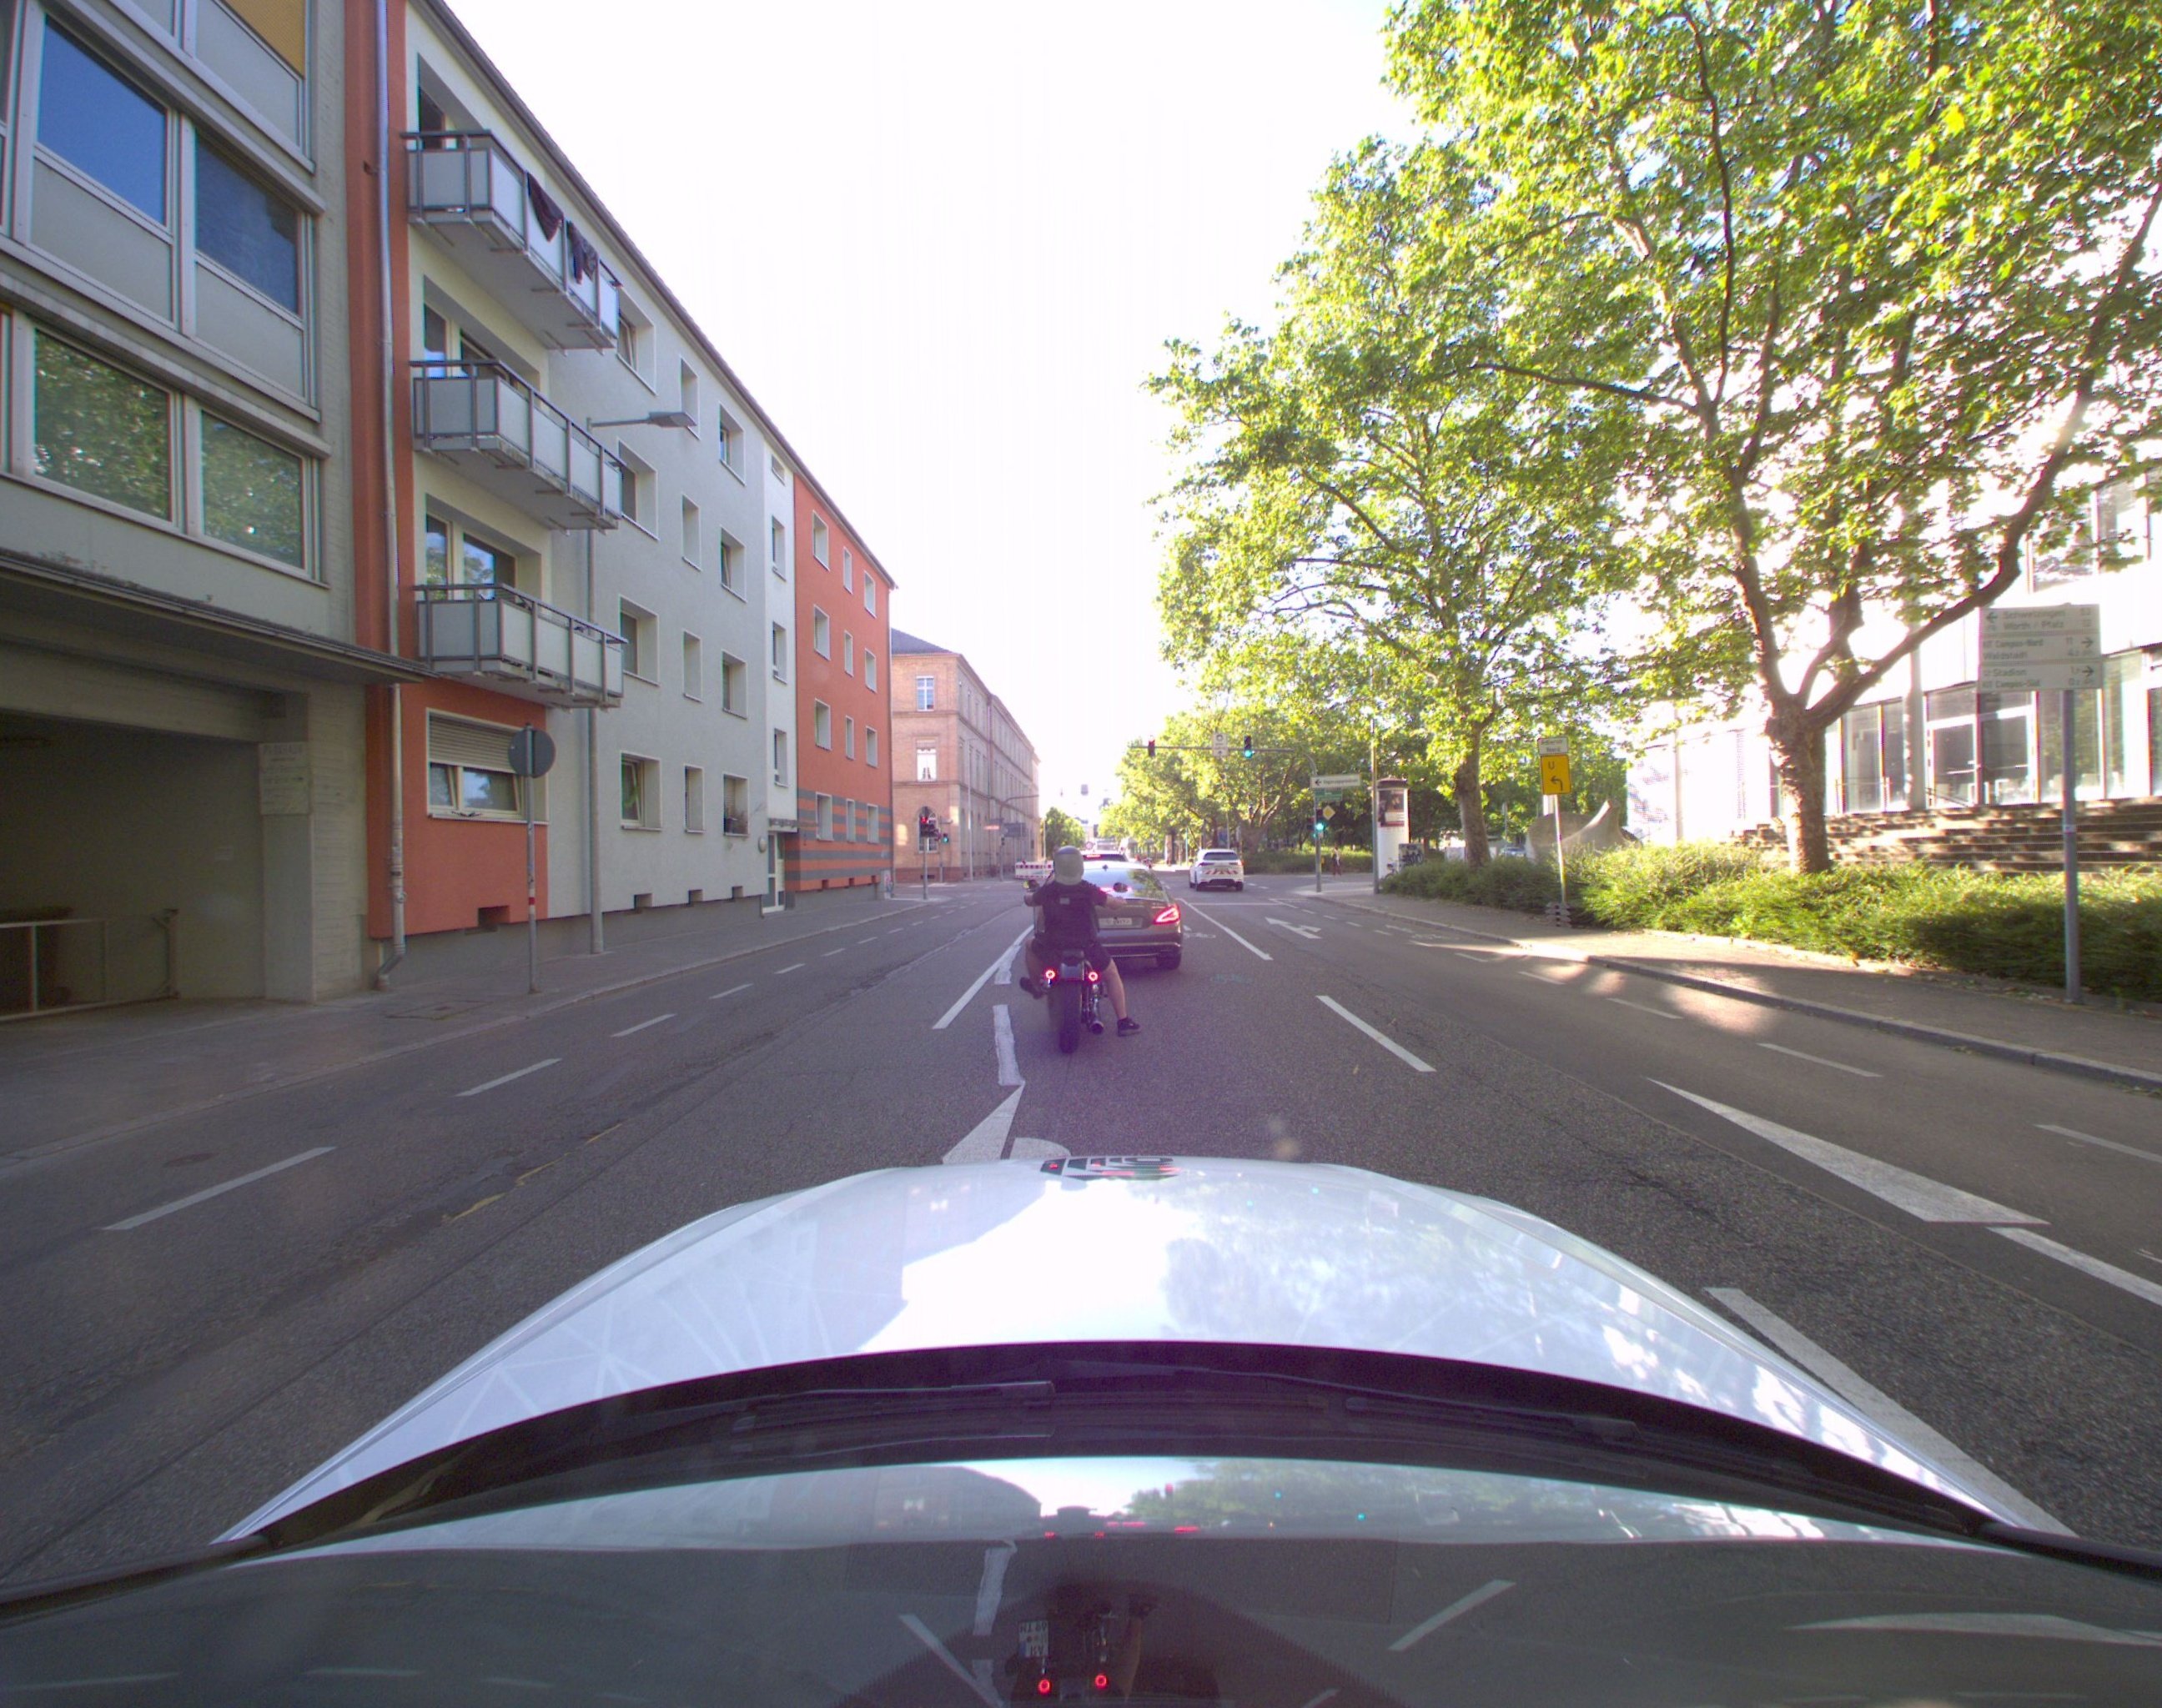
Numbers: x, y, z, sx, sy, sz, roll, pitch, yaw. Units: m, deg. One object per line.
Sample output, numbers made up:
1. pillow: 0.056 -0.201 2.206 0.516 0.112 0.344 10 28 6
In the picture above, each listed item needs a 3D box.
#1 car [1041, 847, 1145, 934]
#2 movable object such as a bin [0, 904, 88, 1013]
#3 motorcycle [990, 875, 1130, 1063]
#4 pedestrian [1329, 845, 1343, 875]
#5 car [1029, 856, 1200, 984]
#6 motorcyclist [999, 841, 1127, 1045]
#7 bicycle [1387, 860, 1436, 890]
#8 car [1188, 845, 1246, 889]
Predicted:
1. car: 0.288 0.723 17.677 1.986 1.665 4.001 0 -1 2
2. movable object such as a bin: -11.290 1.093 8.652 0.639 1.065 0.675 -1 0 1
3. motorcycle: -0.114 0.857 7.052 0.977 1.275 2.408 -1 0 2
4. pedestrian: 15.626 0.365 49.880 0.671 1.772 0.621 -1 -1 31
5. car: 0.262 0.771 11.750 1.867 1.444 4.421 -1 0 -6
6. motorcyclist: -0.123 0.700 7.023 0.977 1.578 1.249 -1 0 1
7. bicycle: 11.077 0.707 27.328 1.475 0.980 0.300 0 -1 7
8. car: 5.592 0.512 34.047 1.935 1.708 4.487 0 0 3
